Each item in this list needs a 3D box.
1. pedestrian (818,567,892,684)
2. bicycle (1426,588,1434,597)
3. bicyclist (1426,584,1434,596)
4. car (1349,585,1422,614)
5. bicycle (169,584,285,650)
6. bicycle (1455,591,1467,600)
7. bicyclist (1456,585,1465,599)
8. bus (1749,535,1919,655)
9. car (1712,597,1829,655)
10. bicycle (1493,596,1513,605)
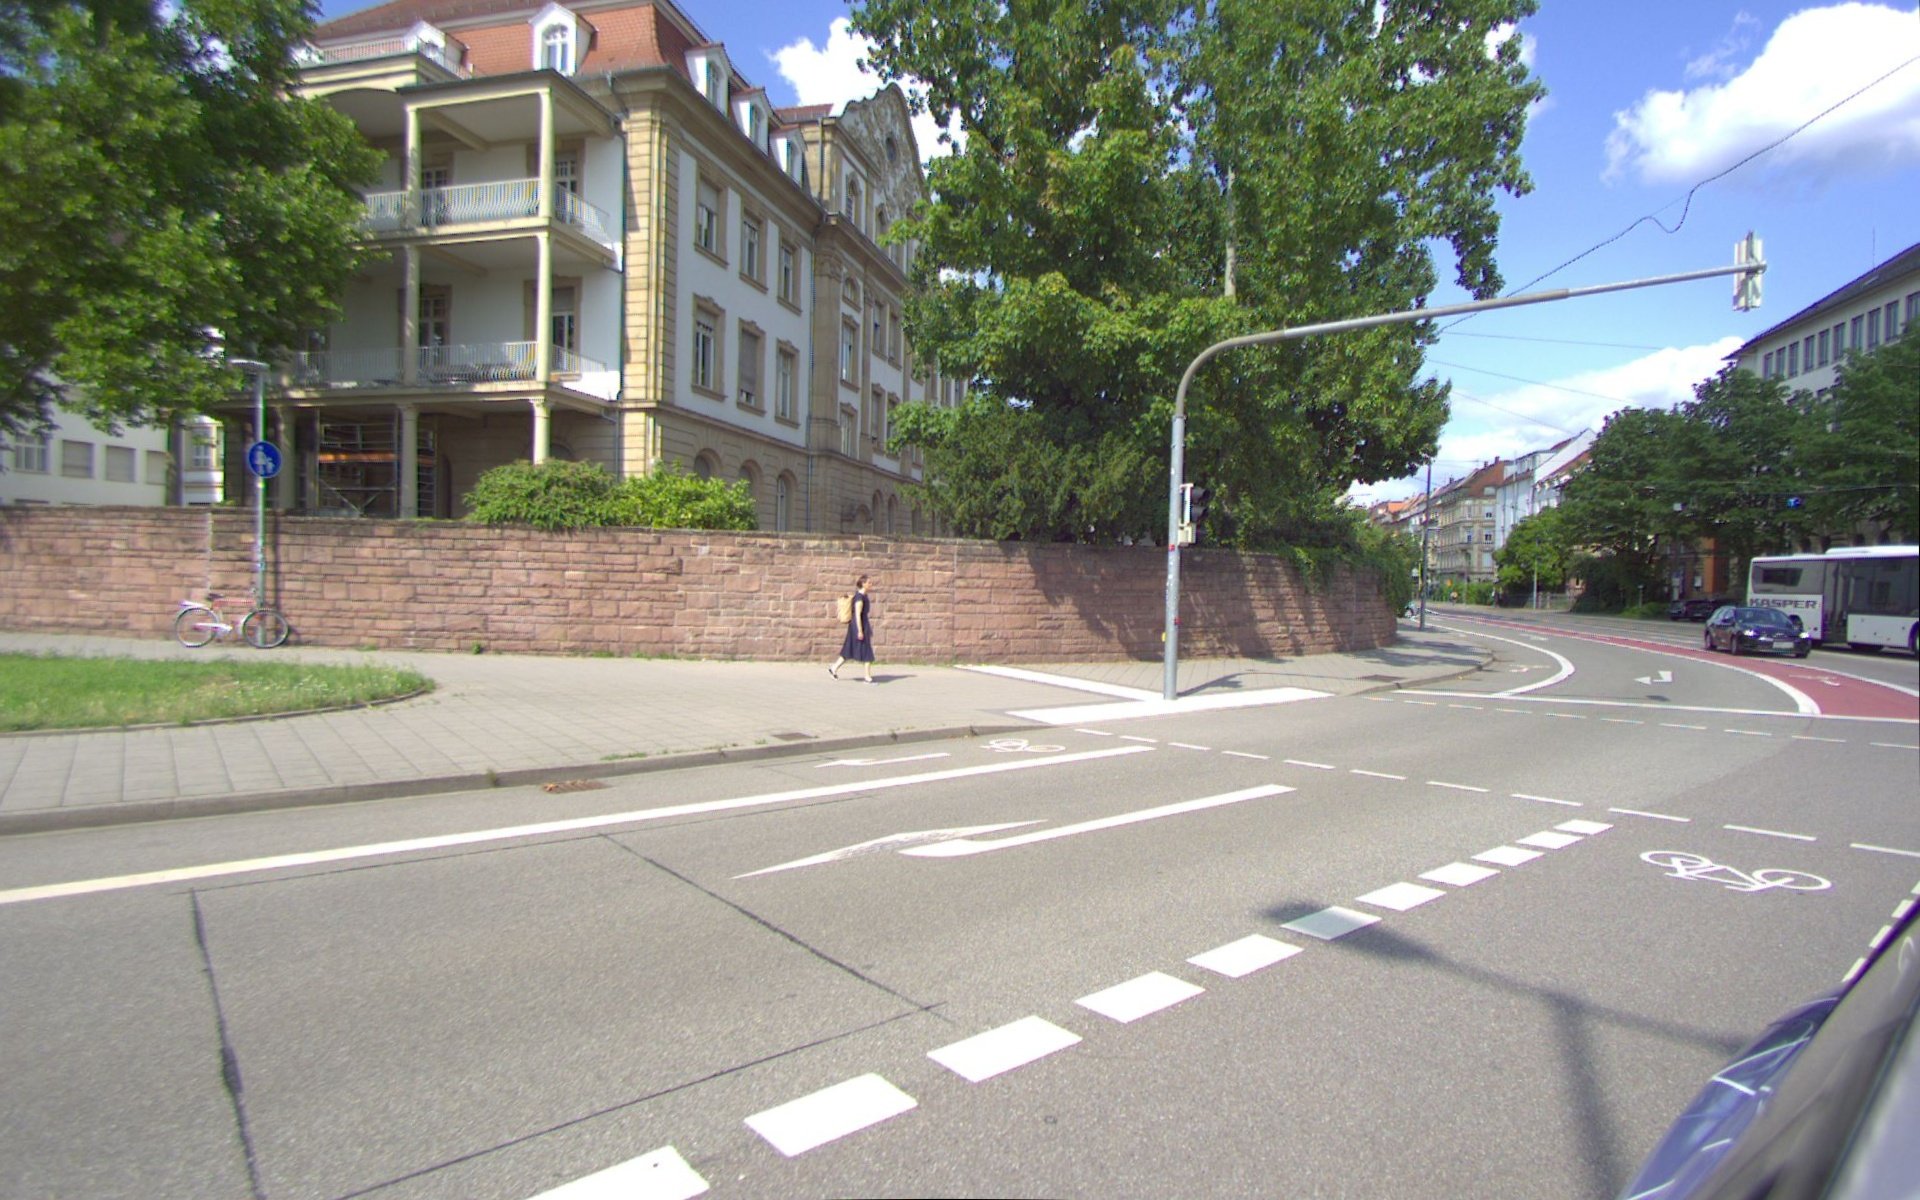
[{"bbox_3d":[-1.573,0.364,15.234,0.872,1.659,0.748,3,1,9],"label":"pedestrian"},{"bbox_3d":[63.473,-1.019,136.755,0.596,1.110,2.012,7,2,16],"label":"bicycle"},{"bbox_3d":[63.525,-1.331,136.784,0.593,1.510,0.877,7,2,17],"label":"bicyclist"},{"bbox_3d":[25.994,-0.024,61.904,3.833,1.625,1.658,2,-1,12],"label":"car"},{"bbox_3d":[-12.081,0.268,16.699,1.568,0.986,0.644,2,3,9],"label":"bicycle"},{"bbox_3d":[58.292,-0.500,117.807,0.690,1.030,1.814,3,1,11],"label":"bicycle"},{"bbox_3d":[58.333,-0.939,117.893,0.682,1.538,0.865,3,1,11],"label":"bicyclist"},{"bbox_3d":[29.180,-0.191,31.125,2.884,3.369,12.157,1,1,13],"label":"bus"},{"bbox_3d":[24.615,0.736,30.885,1.676,1.597,4.124,2,1,23],"label":"car"},{"bbox_3d":[58.554,0.013,109.182,1.129,0.920,2.976,-2,0,14],"label":"bicycle"}]
